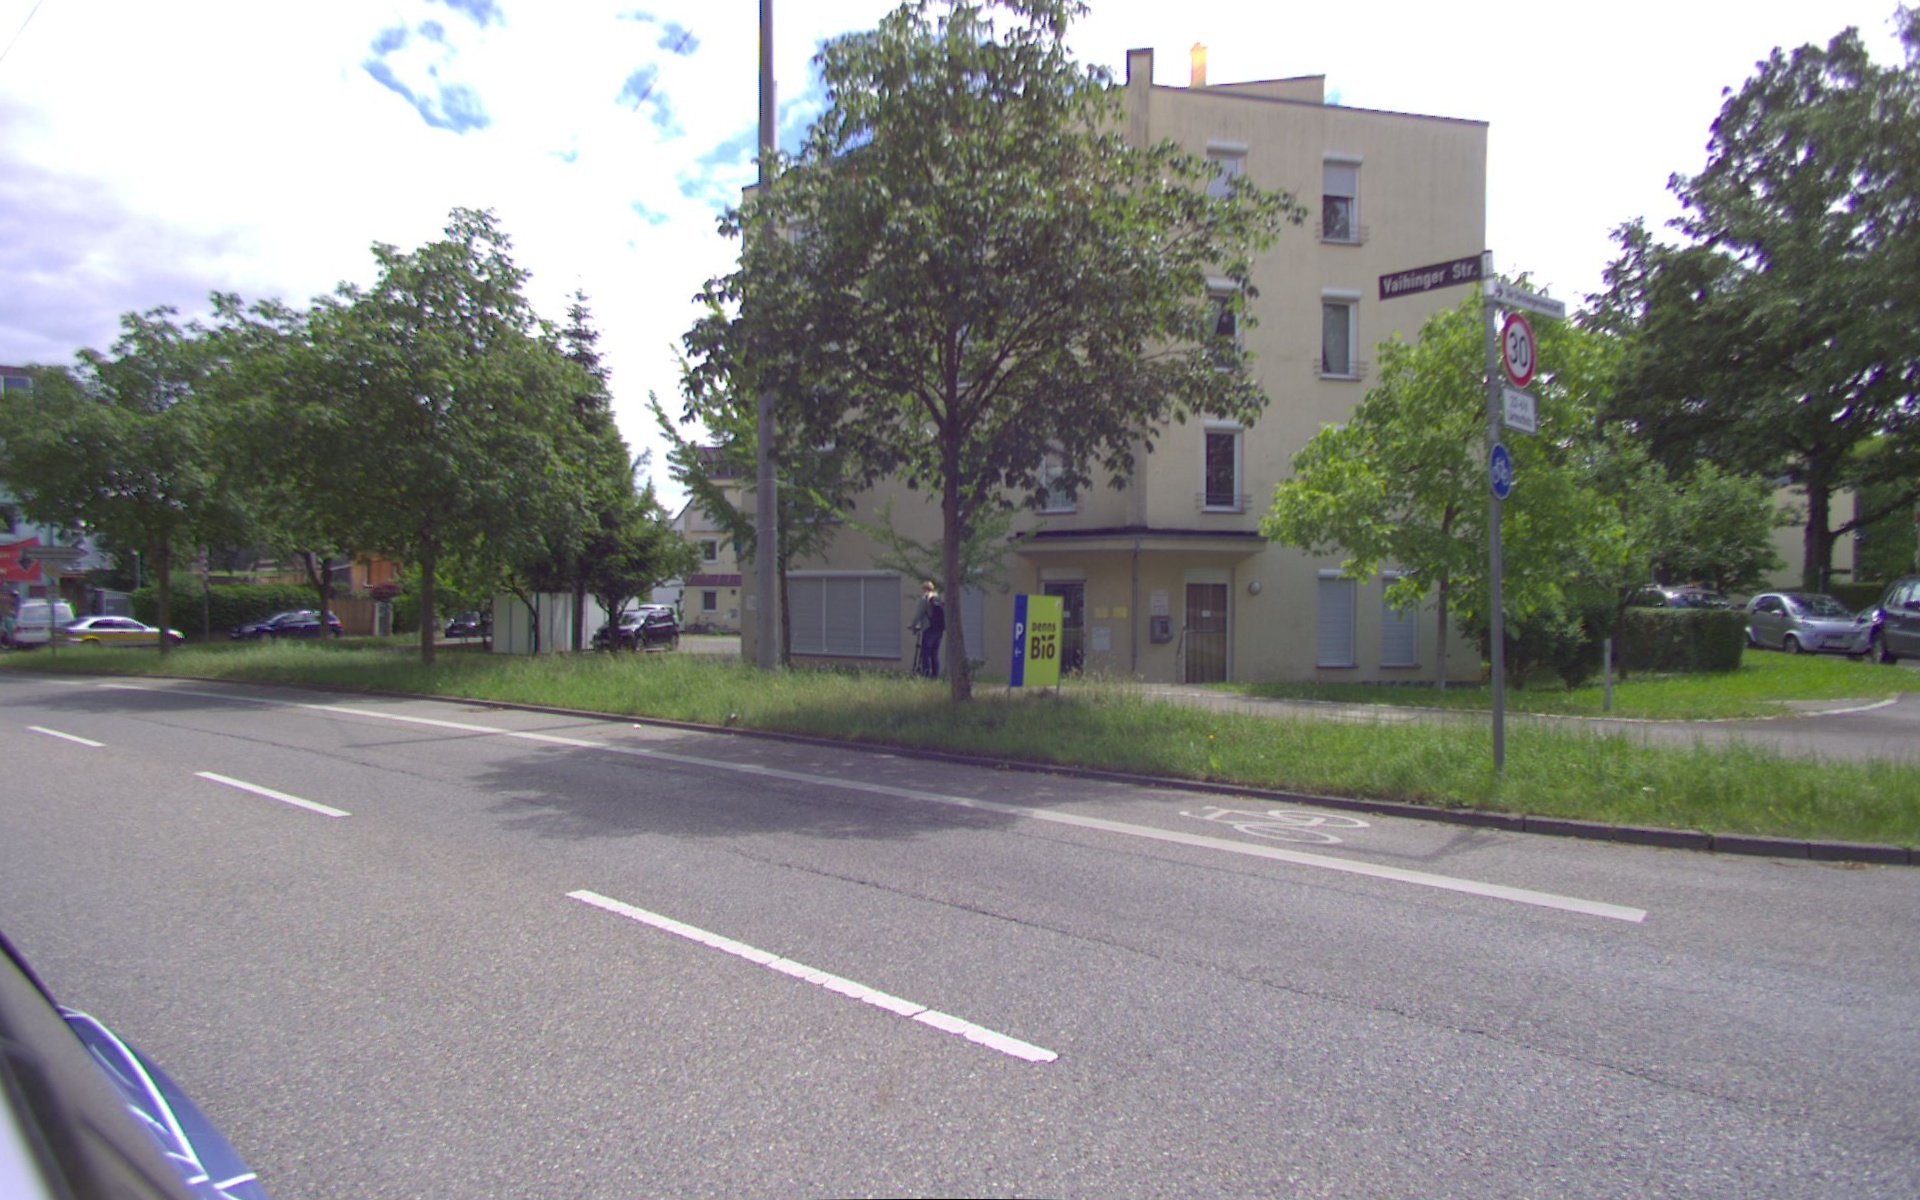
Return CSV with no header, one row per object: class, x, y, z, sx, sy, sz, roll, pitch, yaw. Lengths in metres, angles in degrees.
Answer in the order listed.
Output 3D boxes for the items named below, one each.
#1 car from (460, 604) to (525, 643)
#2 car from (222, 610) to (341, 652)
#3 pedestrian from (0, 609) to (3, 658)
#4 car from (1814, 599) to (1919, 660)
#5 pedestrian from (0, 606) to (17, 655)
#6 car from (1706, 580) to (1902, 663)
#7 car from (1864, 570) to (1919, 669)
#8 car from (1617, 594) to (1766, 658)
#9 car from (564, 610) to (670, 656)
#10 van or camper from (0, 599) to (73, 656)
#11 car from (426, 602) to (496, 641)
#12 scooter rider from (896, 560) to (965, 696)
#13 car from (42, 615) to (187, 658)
car,-27.349,1.321,59.363,1.971,2.028,4.002,-1,2,-1
car,-29.335,1.307,43.860,1.714,1.694,3.931,0,0,35
pedestrian,-39.307,1.372,41.186,0.363,2.028,0.419,0,2,41
car,27.792,0.822,29.792,1.919,1.716,4.267,-1,0,6
pedestrian,-39.051,1.248,41.542,0.443,2.005,0.379,0,2,39
car,19.893,0.491,24.098,1.745,1.807,3.989,-1,0,9
car,17.882,0.342,17.782,1.862,1.666,4.393,0,2,27
car,20.522,0.693,28.604,1.696,1.676,3.990,-1,0,8
car,-11.456,1.111,34.071,1.773,1.431,3.989,-1,-2,9
van or camper,-37.072,1.047,40.517,3.809,2.104,1.771,0,2,41
car,-27.151,1.137,55.197,1.952,2.029,4.002,-1,0,-3
scooter rider,-0.454,0.413,15.634,0.793,2.028,0.670,0,2,38
car,-32.745,1.375,39.321,1.527,1.331,4.012,-1,2,25
